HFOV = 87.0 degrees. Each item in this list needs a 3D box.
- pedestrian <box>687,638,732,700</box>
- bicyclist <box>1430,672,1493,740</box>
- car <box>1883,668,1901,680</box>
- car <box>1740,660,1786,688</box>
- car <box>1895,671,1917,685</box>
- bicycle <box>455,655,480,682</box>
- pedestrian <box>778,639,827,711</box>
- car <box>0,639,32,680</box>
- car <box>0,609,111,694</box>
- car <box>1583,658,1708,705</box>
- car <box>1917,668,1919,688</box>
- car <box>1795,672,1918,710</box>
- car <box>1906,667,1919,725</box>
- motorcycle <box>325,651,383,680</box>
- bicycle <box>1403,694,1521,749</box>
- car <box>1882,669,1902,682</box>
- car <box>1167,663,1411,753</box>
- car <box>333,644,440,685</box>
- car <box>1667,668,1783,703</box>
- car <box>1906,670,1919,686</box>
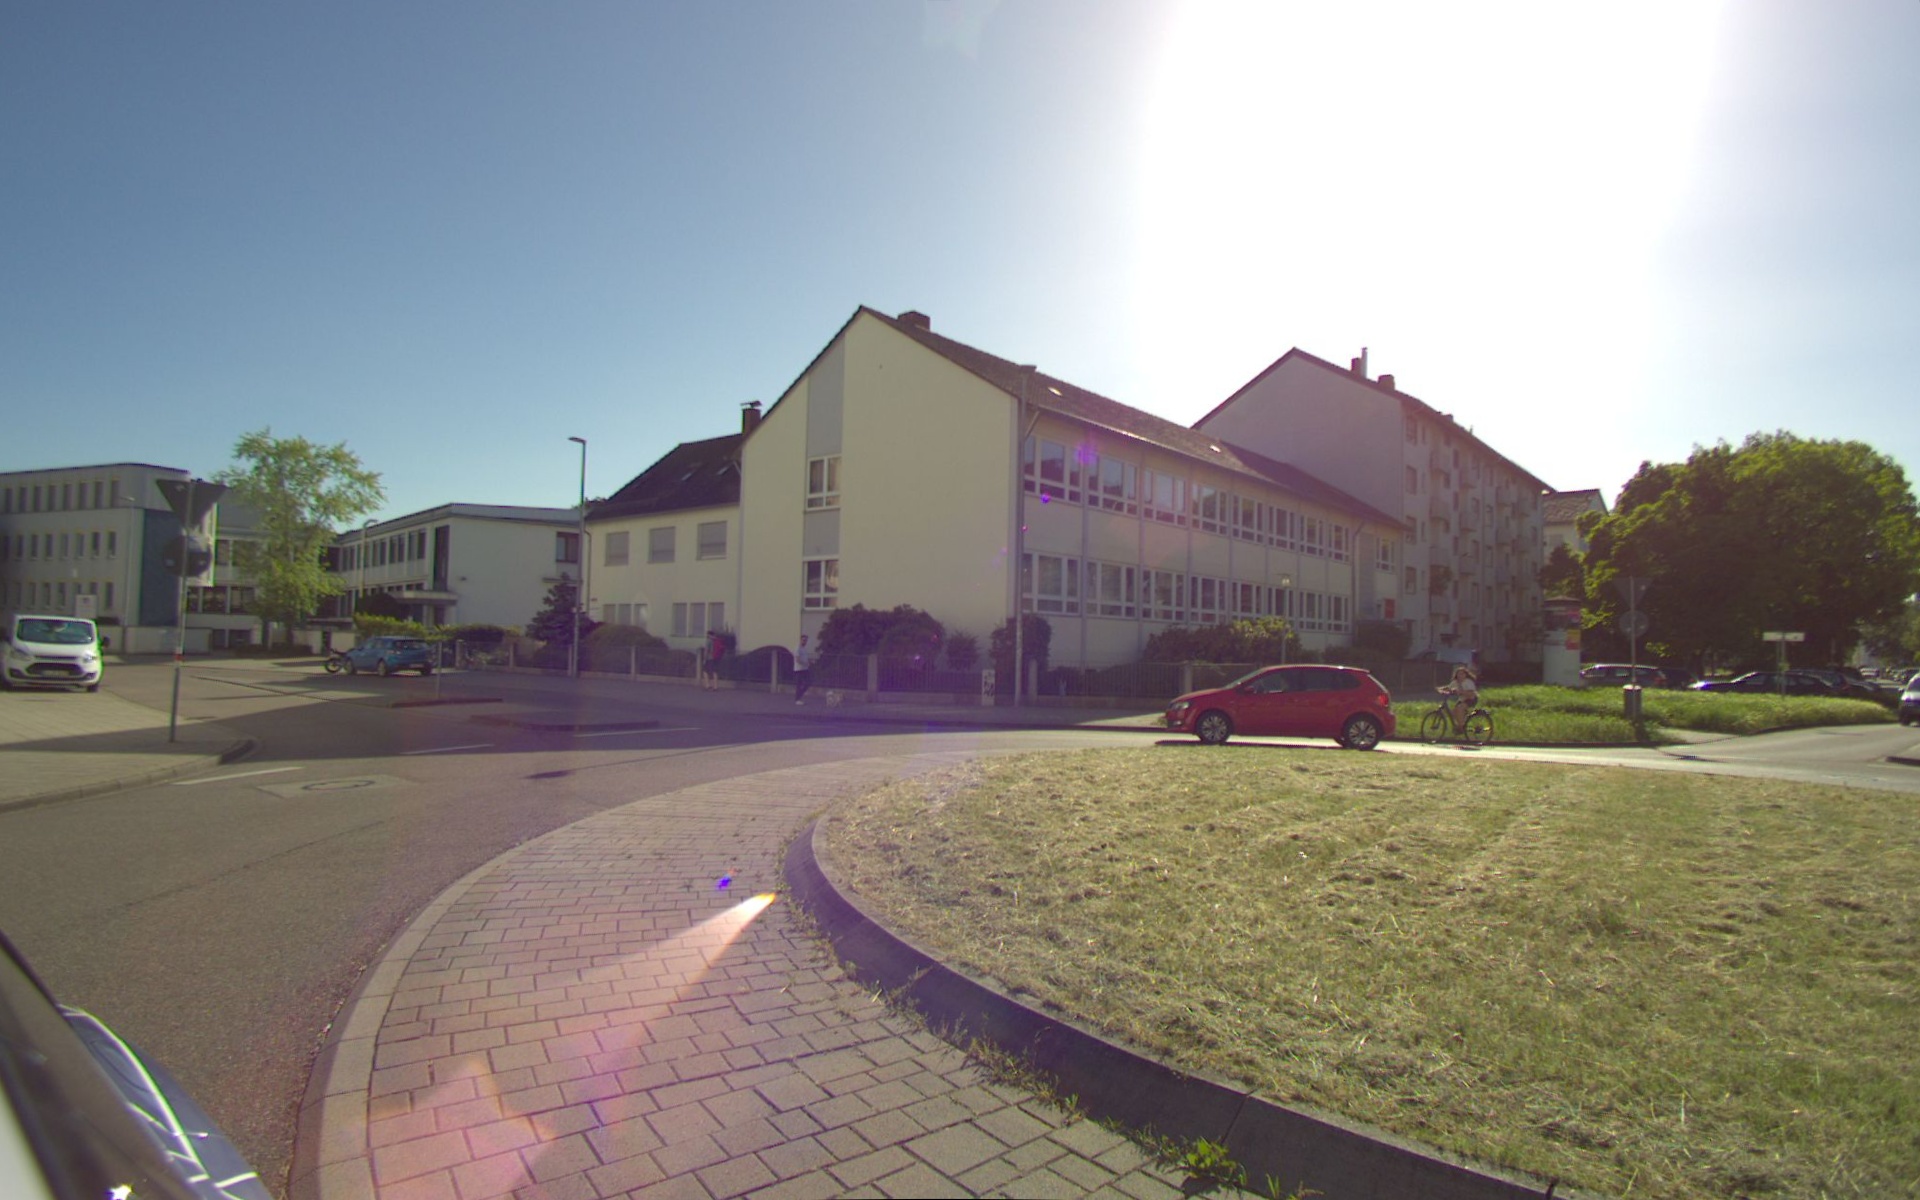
[{"bbox_3d":[-7.203,1.965,29.140,0.996,1.718,0.809,-1,-3,38],"label":"pedestrian"},{"bbox_3d":[10.338,2.173,20.870,0.811,1.322,0.813,1,-2,-15],"label":"bicyclist"},{"bbox_3d":[133.948,10.577,145.475,1.851,1.685,3.944,-1,-4,42],"label":"car"},{"bbox_3d":[46.060,4.224,58.105,1.847,1.534,3.951,-1,-4,35],"label":"car"},{"bbox_3d":[114.747,9.427,122.751,1.851,1.685,3.944,-1,-4,42],"label":"car"},{"bbox_3d":[-20.076,2.787,41.216,1.261,1.023,0.341,-1,-4,37],"label":"bicycle"},{"bbox_3d":[-3.899,1.841,25.052,0.993,1.718,0.685,-1,-2,31],"label":"pedestrian"},{"bbox_3d":[-35.347,2.075,36.400,3.985,1.405,1.740,-1,-7,31],"label":"car"},{"bbox_3d":[-24.539,1.375,27.197,4.798,2.029,1.971,-2,-7,44],"label":"car"},{"bbox_3d":[28.808,3.398,42.616,1.969,1.785,4.005,4,-4,-41],"label":"car"},{"bbox_3d":[91.667,7.392,95.458,1.851,1.919,3.944,-1,-4,42],"label":"car"},{"bbox_3d":[40.608,4.088,45.961,3.993,1.497,1.828,-1,-4,37],"label":"car"},{"bbox_3d":[30.664,2.939,31.136,4.208,1.709,1.883,3,-4,-42],"label":"car"},{"bbox_3d":[-23.994,2.590,40.104,1.930,1.103,0.592,1,-3,-25],"label":"motorcycle"},{"bbox_3d":[10.338,2.490,20.868,2.173,1.022,0.813,1,-2,-15],"label":"bicycle"},{"bbox_3d":[126.524,10.245,137.409,1.851,1.685,3.944,-1,-4,42],"label":"car"},{"bbox_3d":[5.727,1.878,18.051,3.961,1.393,1.709,0,-4,14],"label":"car"},{"bbox_3d":[-21.714,2.393,38.275,4.406,1.445,1.862,-1,-2,36],"label":"car"},{"bbox_3d":[35.751,3.966,47.369,1.969,1.475,4.005,4,-4,-41],"label":"car"},{"bbox_3d":[105.210,8.560,111.152,1.851,1.685,3.944,-1,-4,42],"label":"car"}]
